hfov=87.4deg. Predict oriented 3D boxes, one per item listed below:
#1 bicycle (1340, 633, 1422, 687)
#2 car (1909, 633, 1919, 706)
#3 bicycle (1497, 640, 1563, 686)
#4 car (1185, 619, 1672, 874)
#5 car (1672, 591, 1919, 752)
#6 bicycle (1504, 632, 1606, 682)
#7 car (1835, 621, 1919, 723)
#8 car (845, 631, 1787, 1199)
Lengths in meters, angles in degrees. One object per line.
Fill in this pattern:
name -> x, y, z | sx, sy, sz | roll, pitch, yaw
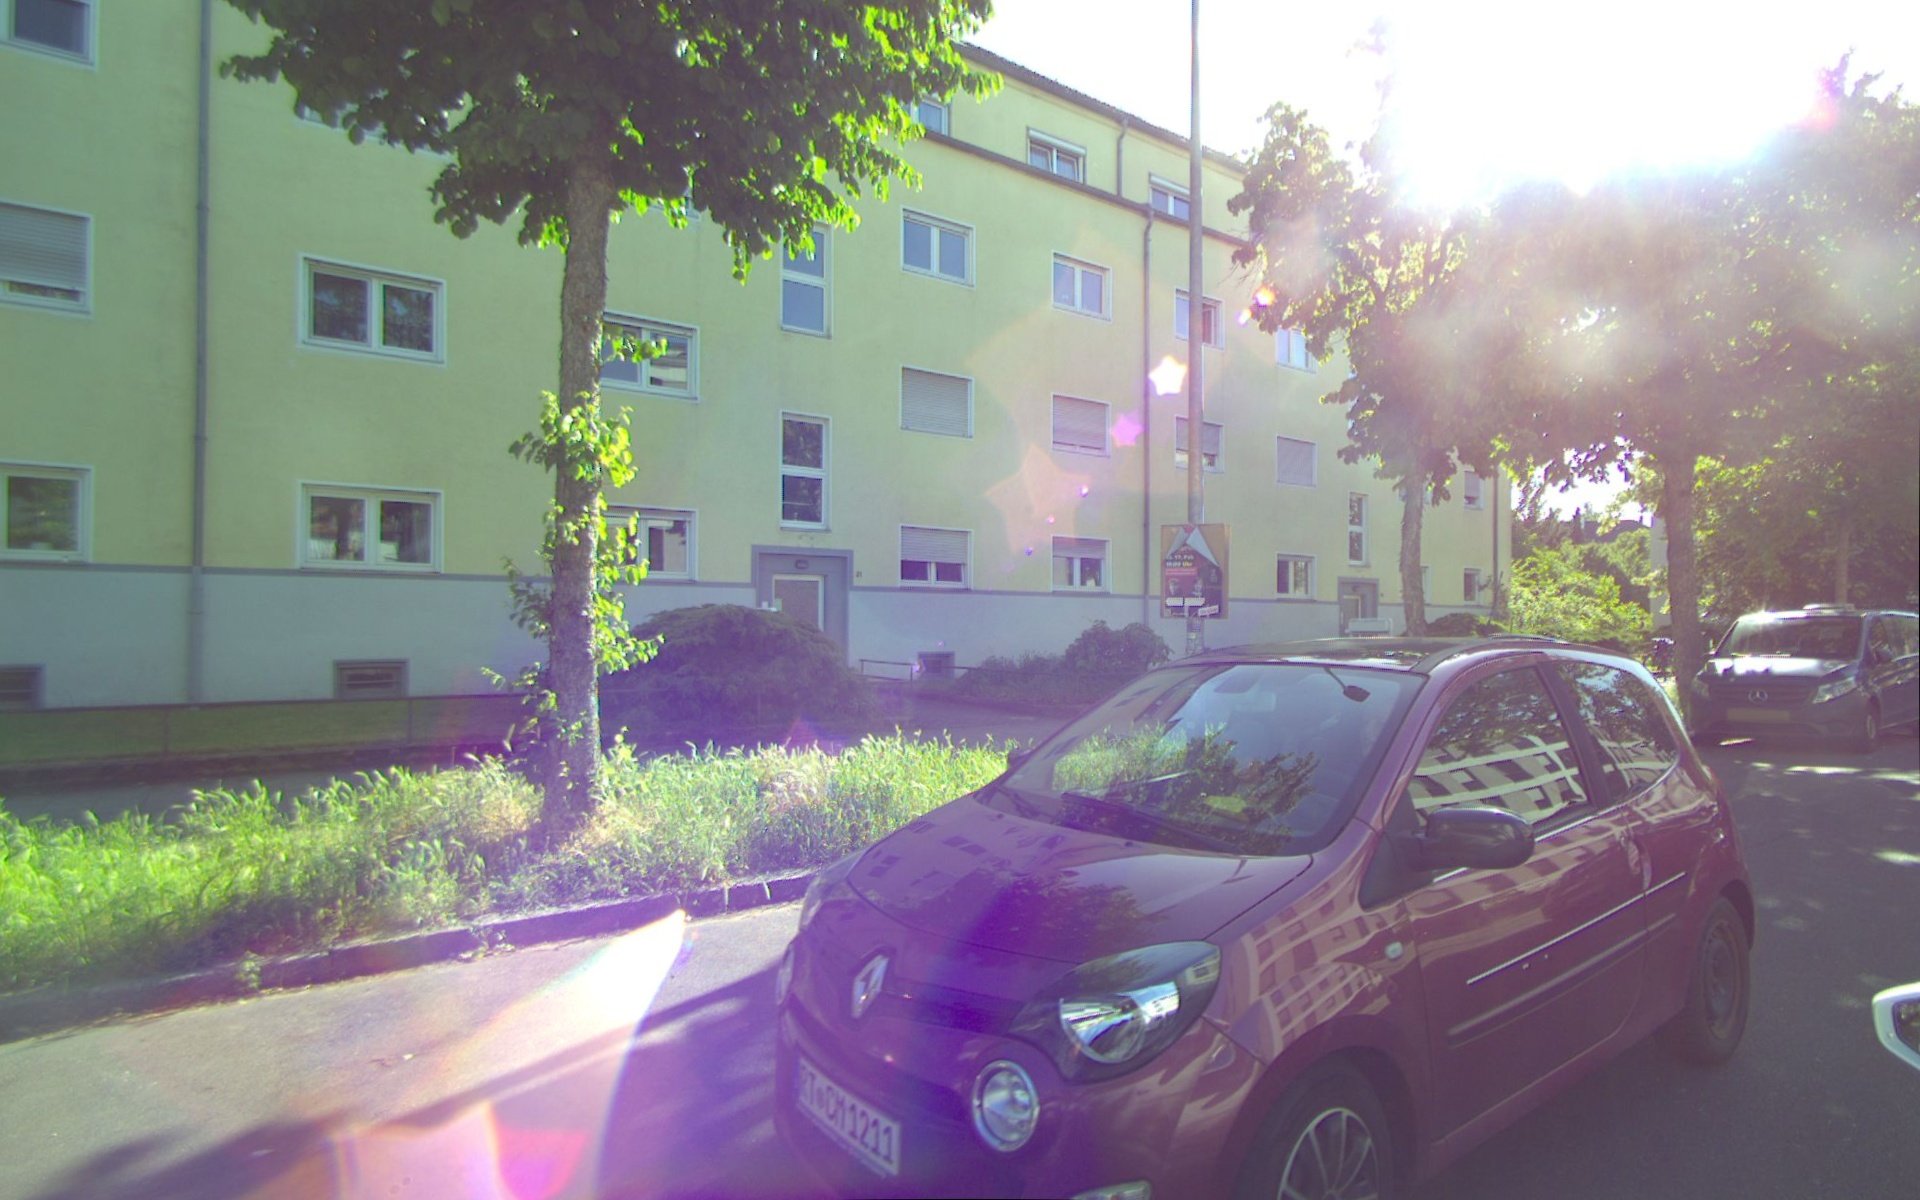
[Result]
bicycle -> 8.335, 1.164, 19.848 | 1.909, 1.005, 0.591 | 1, -2, -36
car -> 21.172, 1.402, 20.746 | 4.019, 1.446, 1.601 | 1, -3, -37
bicycle -> 13.180, 1.434, 23.210 | 1.909, 1.005, 0.591 | 1, -2, -36
car -> 4.018, 0.993, 8.228 | 4.733, 1.568, 1.497 | 1, -4, -36
car -> 12.256, 0.947, 14.318 | 5.091, 1.929, 1.815 | 1, -3, -35
bicycle -> 15.066, 1.420, 25.484 | 2.123, 1.224, 0.686 | -2, -2, 44
car -> 16.941, 1.205, 17.628 | 4.192, 1.632, 1.600 | 1, -3, -38
car -> 1.346, 0.834, 3.414 | 3.146, 1.445, 1.495 | 1, -2, -36
